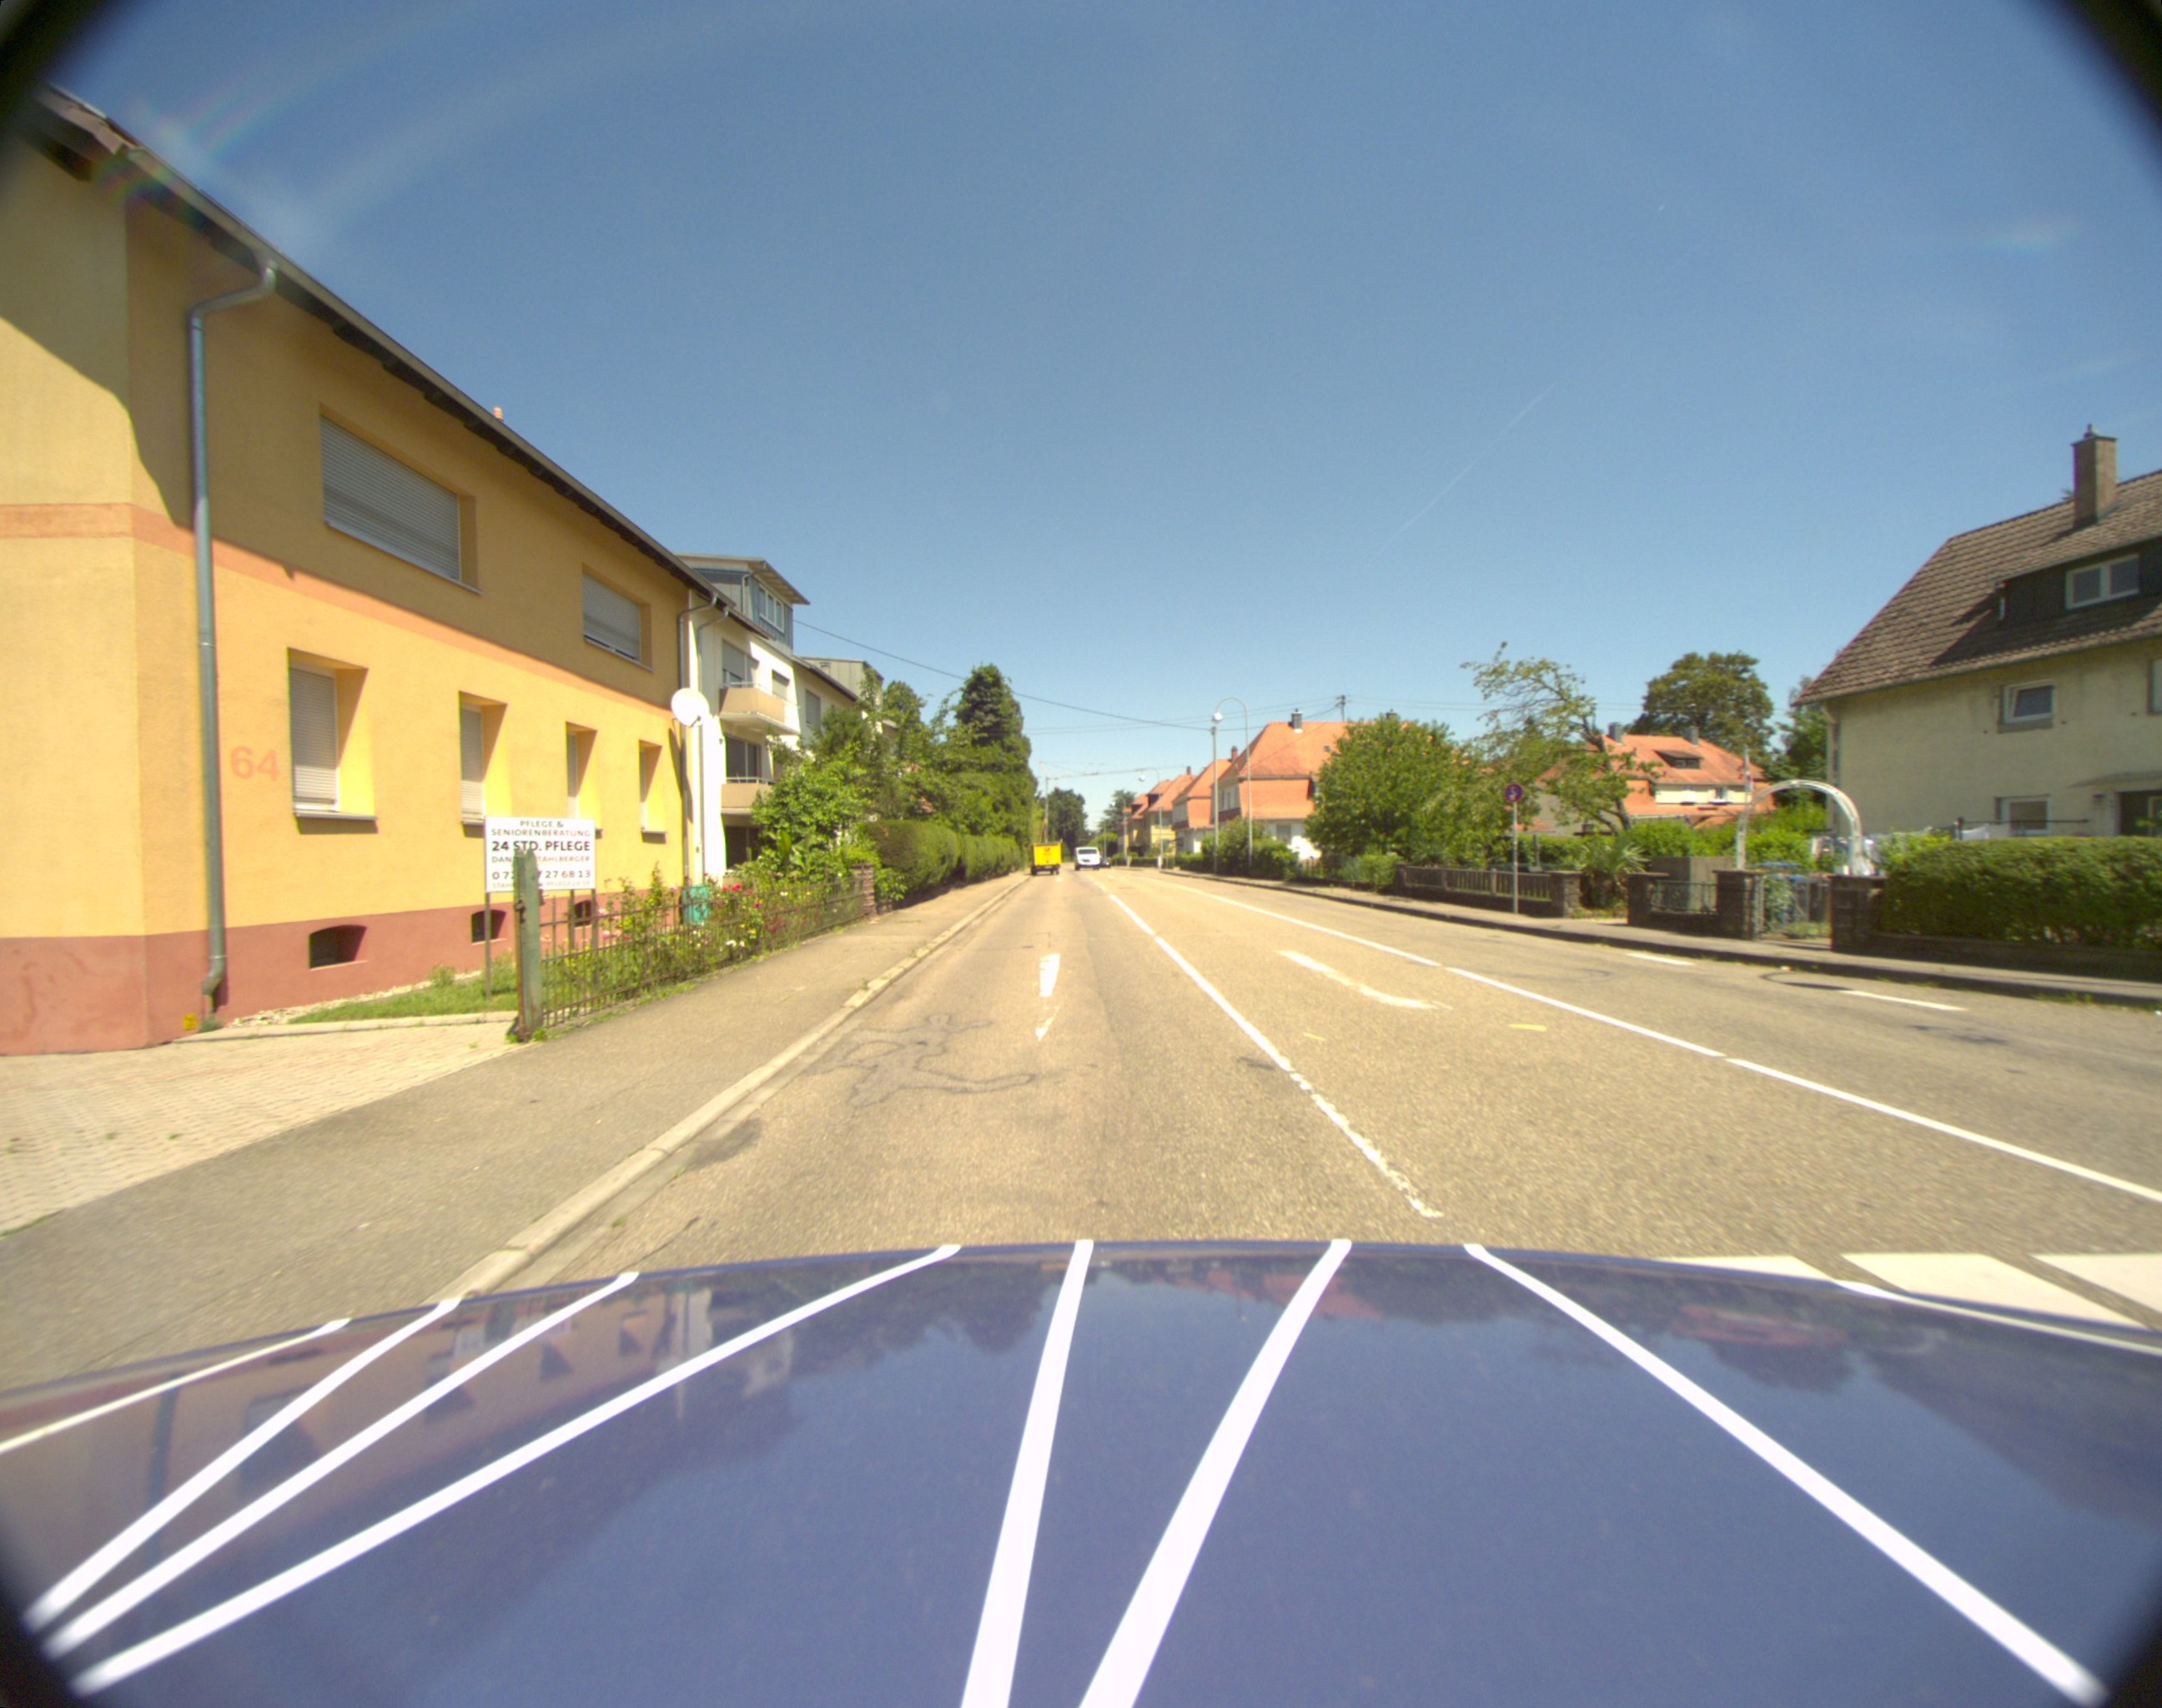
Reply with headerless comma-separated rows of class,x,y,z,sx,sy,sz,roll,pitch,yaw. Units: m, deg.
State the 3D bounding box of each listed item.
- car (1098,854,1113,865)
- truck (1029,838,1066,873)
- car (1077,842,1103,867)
car,3.171,0.714,98.842,1.754,1.390,3.999,1,0,-2
truck,-2.544,0.136,56.164,2.019,2.295,6.172,-4,0,-7
car,0.719,0.087,65.202,1.999,2.002,4.386,-2,0,-1
